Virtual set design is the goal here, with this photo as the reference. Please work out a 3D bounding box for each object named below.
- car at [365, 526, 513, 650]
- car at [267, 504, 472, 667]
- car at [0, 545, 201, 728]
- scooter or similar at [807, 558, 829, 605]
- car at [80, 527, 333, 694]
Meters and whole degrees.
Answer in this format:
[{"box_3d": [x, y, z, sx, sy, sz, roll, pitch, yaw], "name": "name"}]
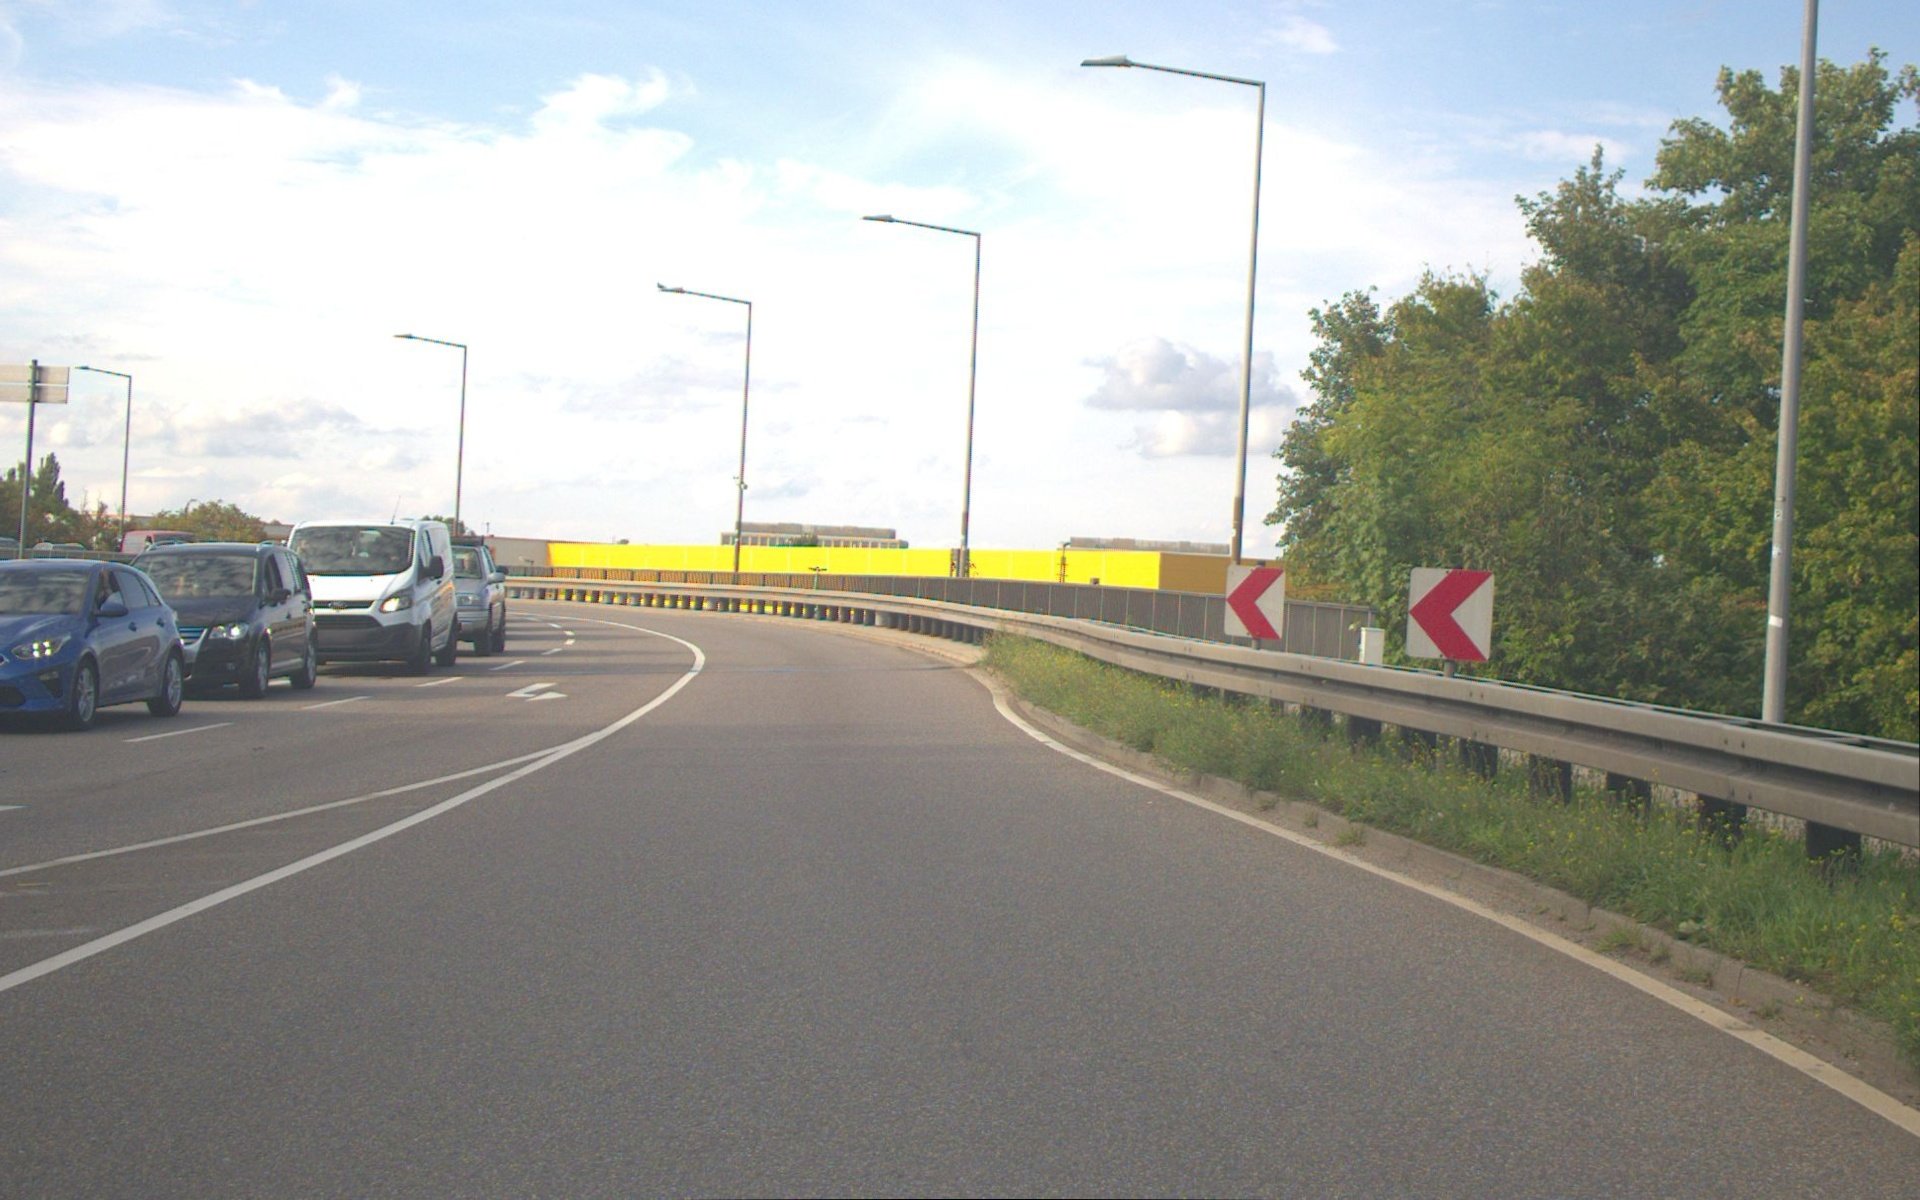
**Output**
[{"box_3d": [-7.674, -0.209, 50.890, 1.773, 1.740, 3.838, 1, 1, -3], "name": "car"}, {"box_3d": [-7.520, -0.218, 44.251, 1.985, 1.957, 5.048, 1, 1, -3], "name": "car"}, {"box_3d": [-8.123, 0.261, 29.961, 1.893, 1.443, 4.361, 1, 1, 2], "name": "car"}, {"box_3d": [-3.540, -0.453, 85.661, 0.265, 1.158, 1.189, 1, 0, -17], "name": "scooter or similar"}, {"box_3d": [-7.939, 0.062, 36.595, 1.746, 1.648, 4.453, 1, 1, -1], "name": "car"}]
